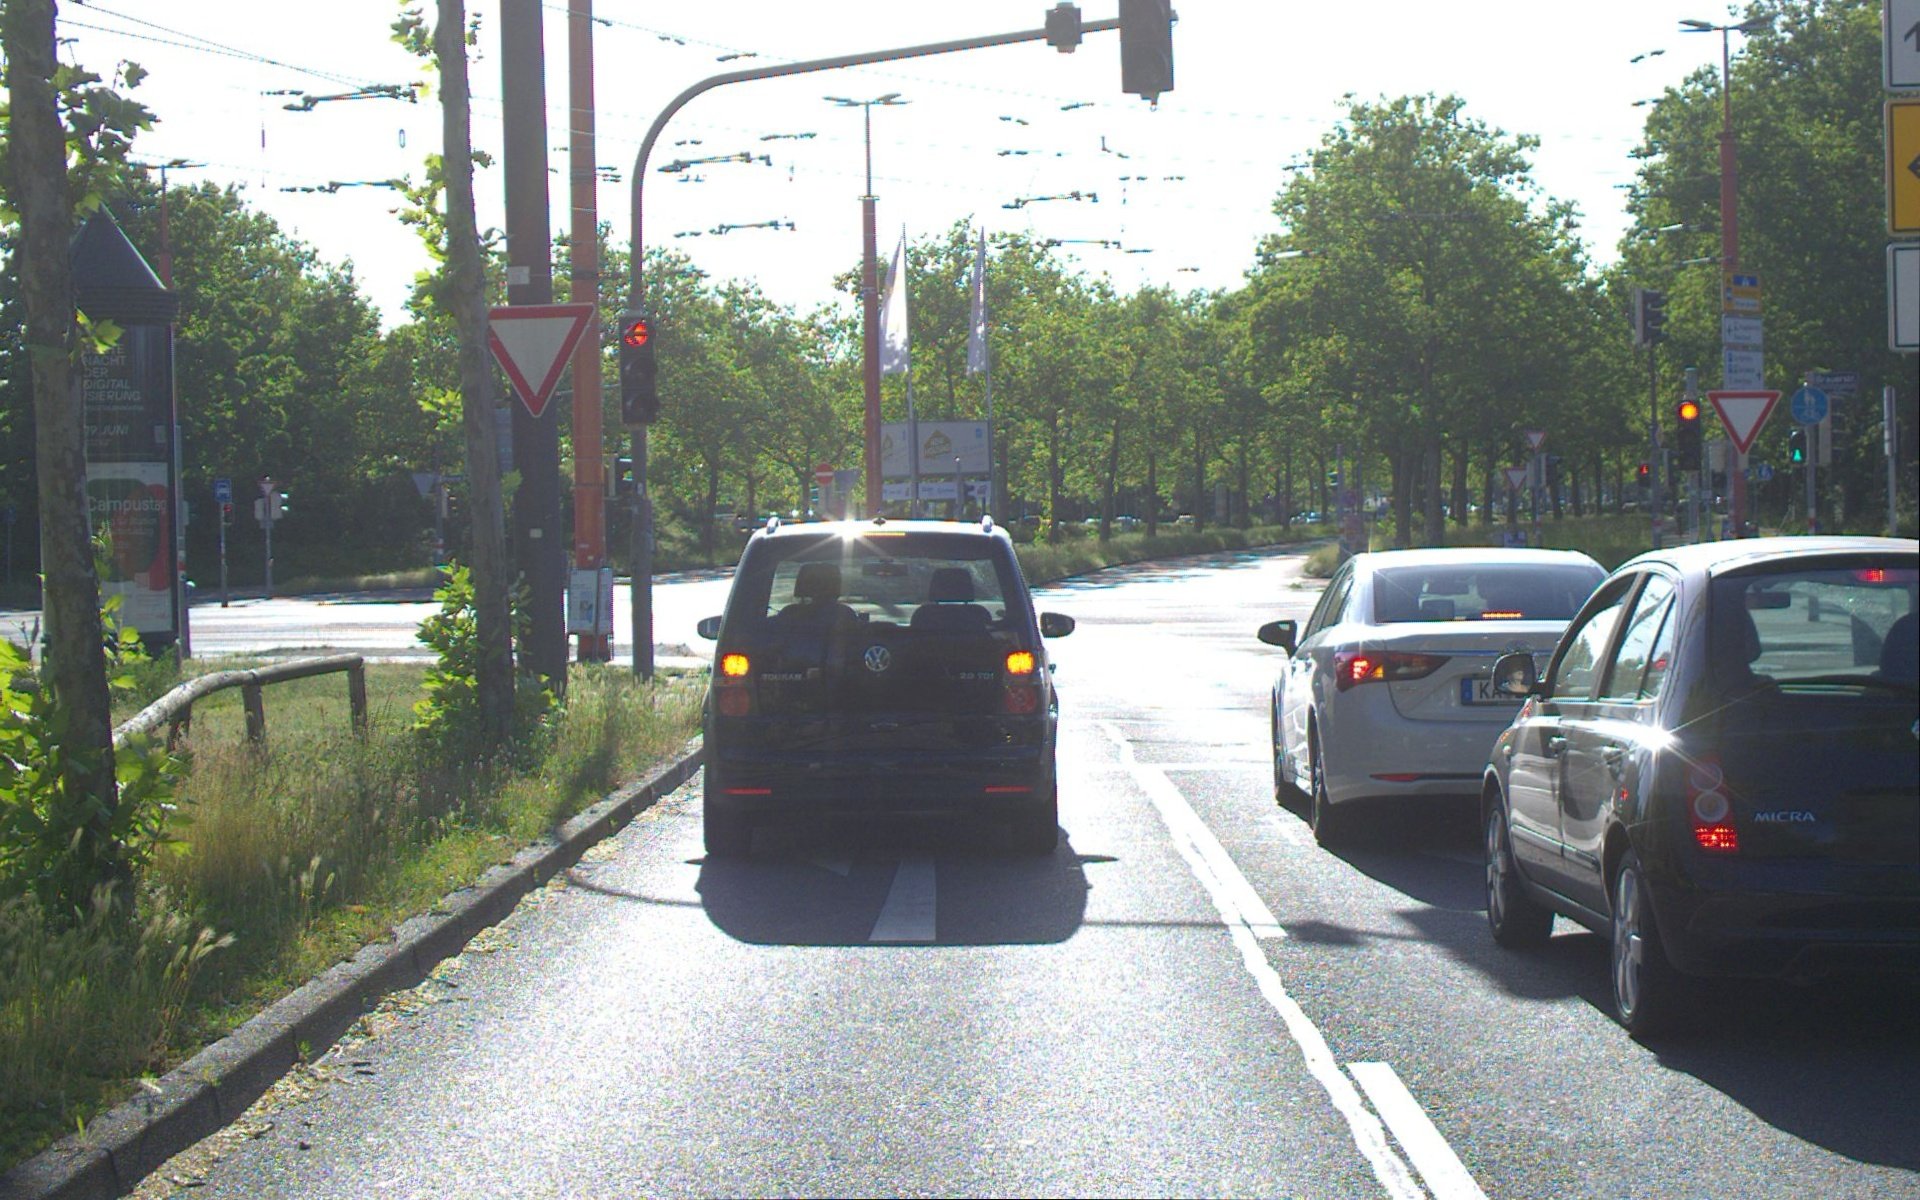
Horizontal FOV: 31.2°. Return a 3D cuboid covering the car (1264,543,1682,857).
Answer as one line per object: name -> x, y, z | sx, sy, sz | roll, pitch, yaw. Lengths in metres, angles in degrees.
car -> 2.586, 0.446, 18.178 | 1.678, 1.470, 4.130 | 0, 1, 1

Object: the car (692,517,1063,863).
car -> -0.402, 0.395, 17.634 | 1.710, 1.598, 3.350 | 0, 1, -1

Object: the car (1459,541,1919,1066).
car -> 2.773, 0.550, 11.566 | 1.639, 1.489, 3.503 | 0, 1, -1
